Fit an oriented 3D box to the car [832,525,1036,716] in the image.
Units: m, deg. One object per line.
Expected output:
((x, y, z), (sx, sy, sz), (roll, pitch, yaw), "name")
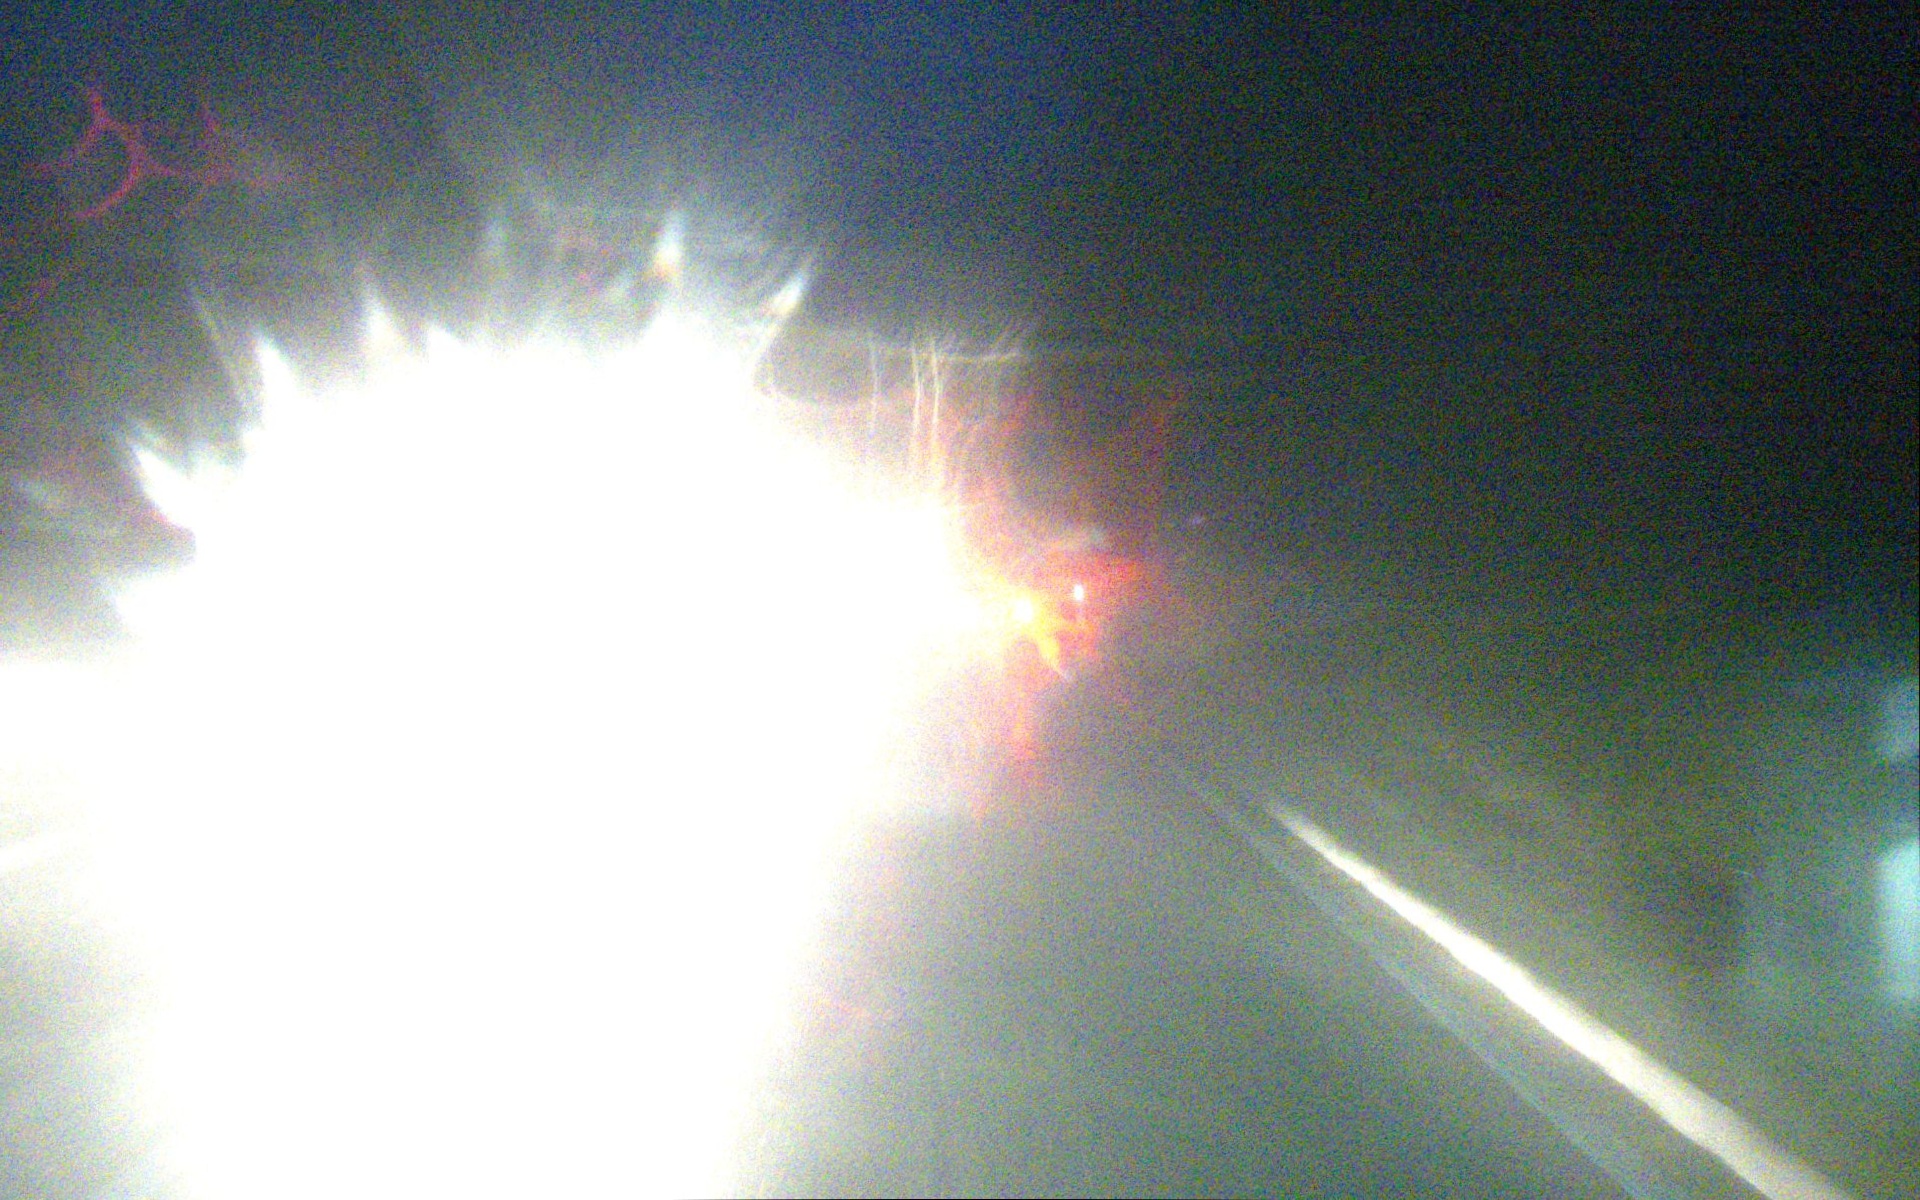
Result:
((-0.336, 0.171, 37.585), (1.993, 1.800, 3.918), (-2, 3, -3), "car")

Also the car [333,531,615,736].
((-4.174, 0.232, 30.178), (1.800, 1.574, 4.457), (-2, 2, 0), "car")
